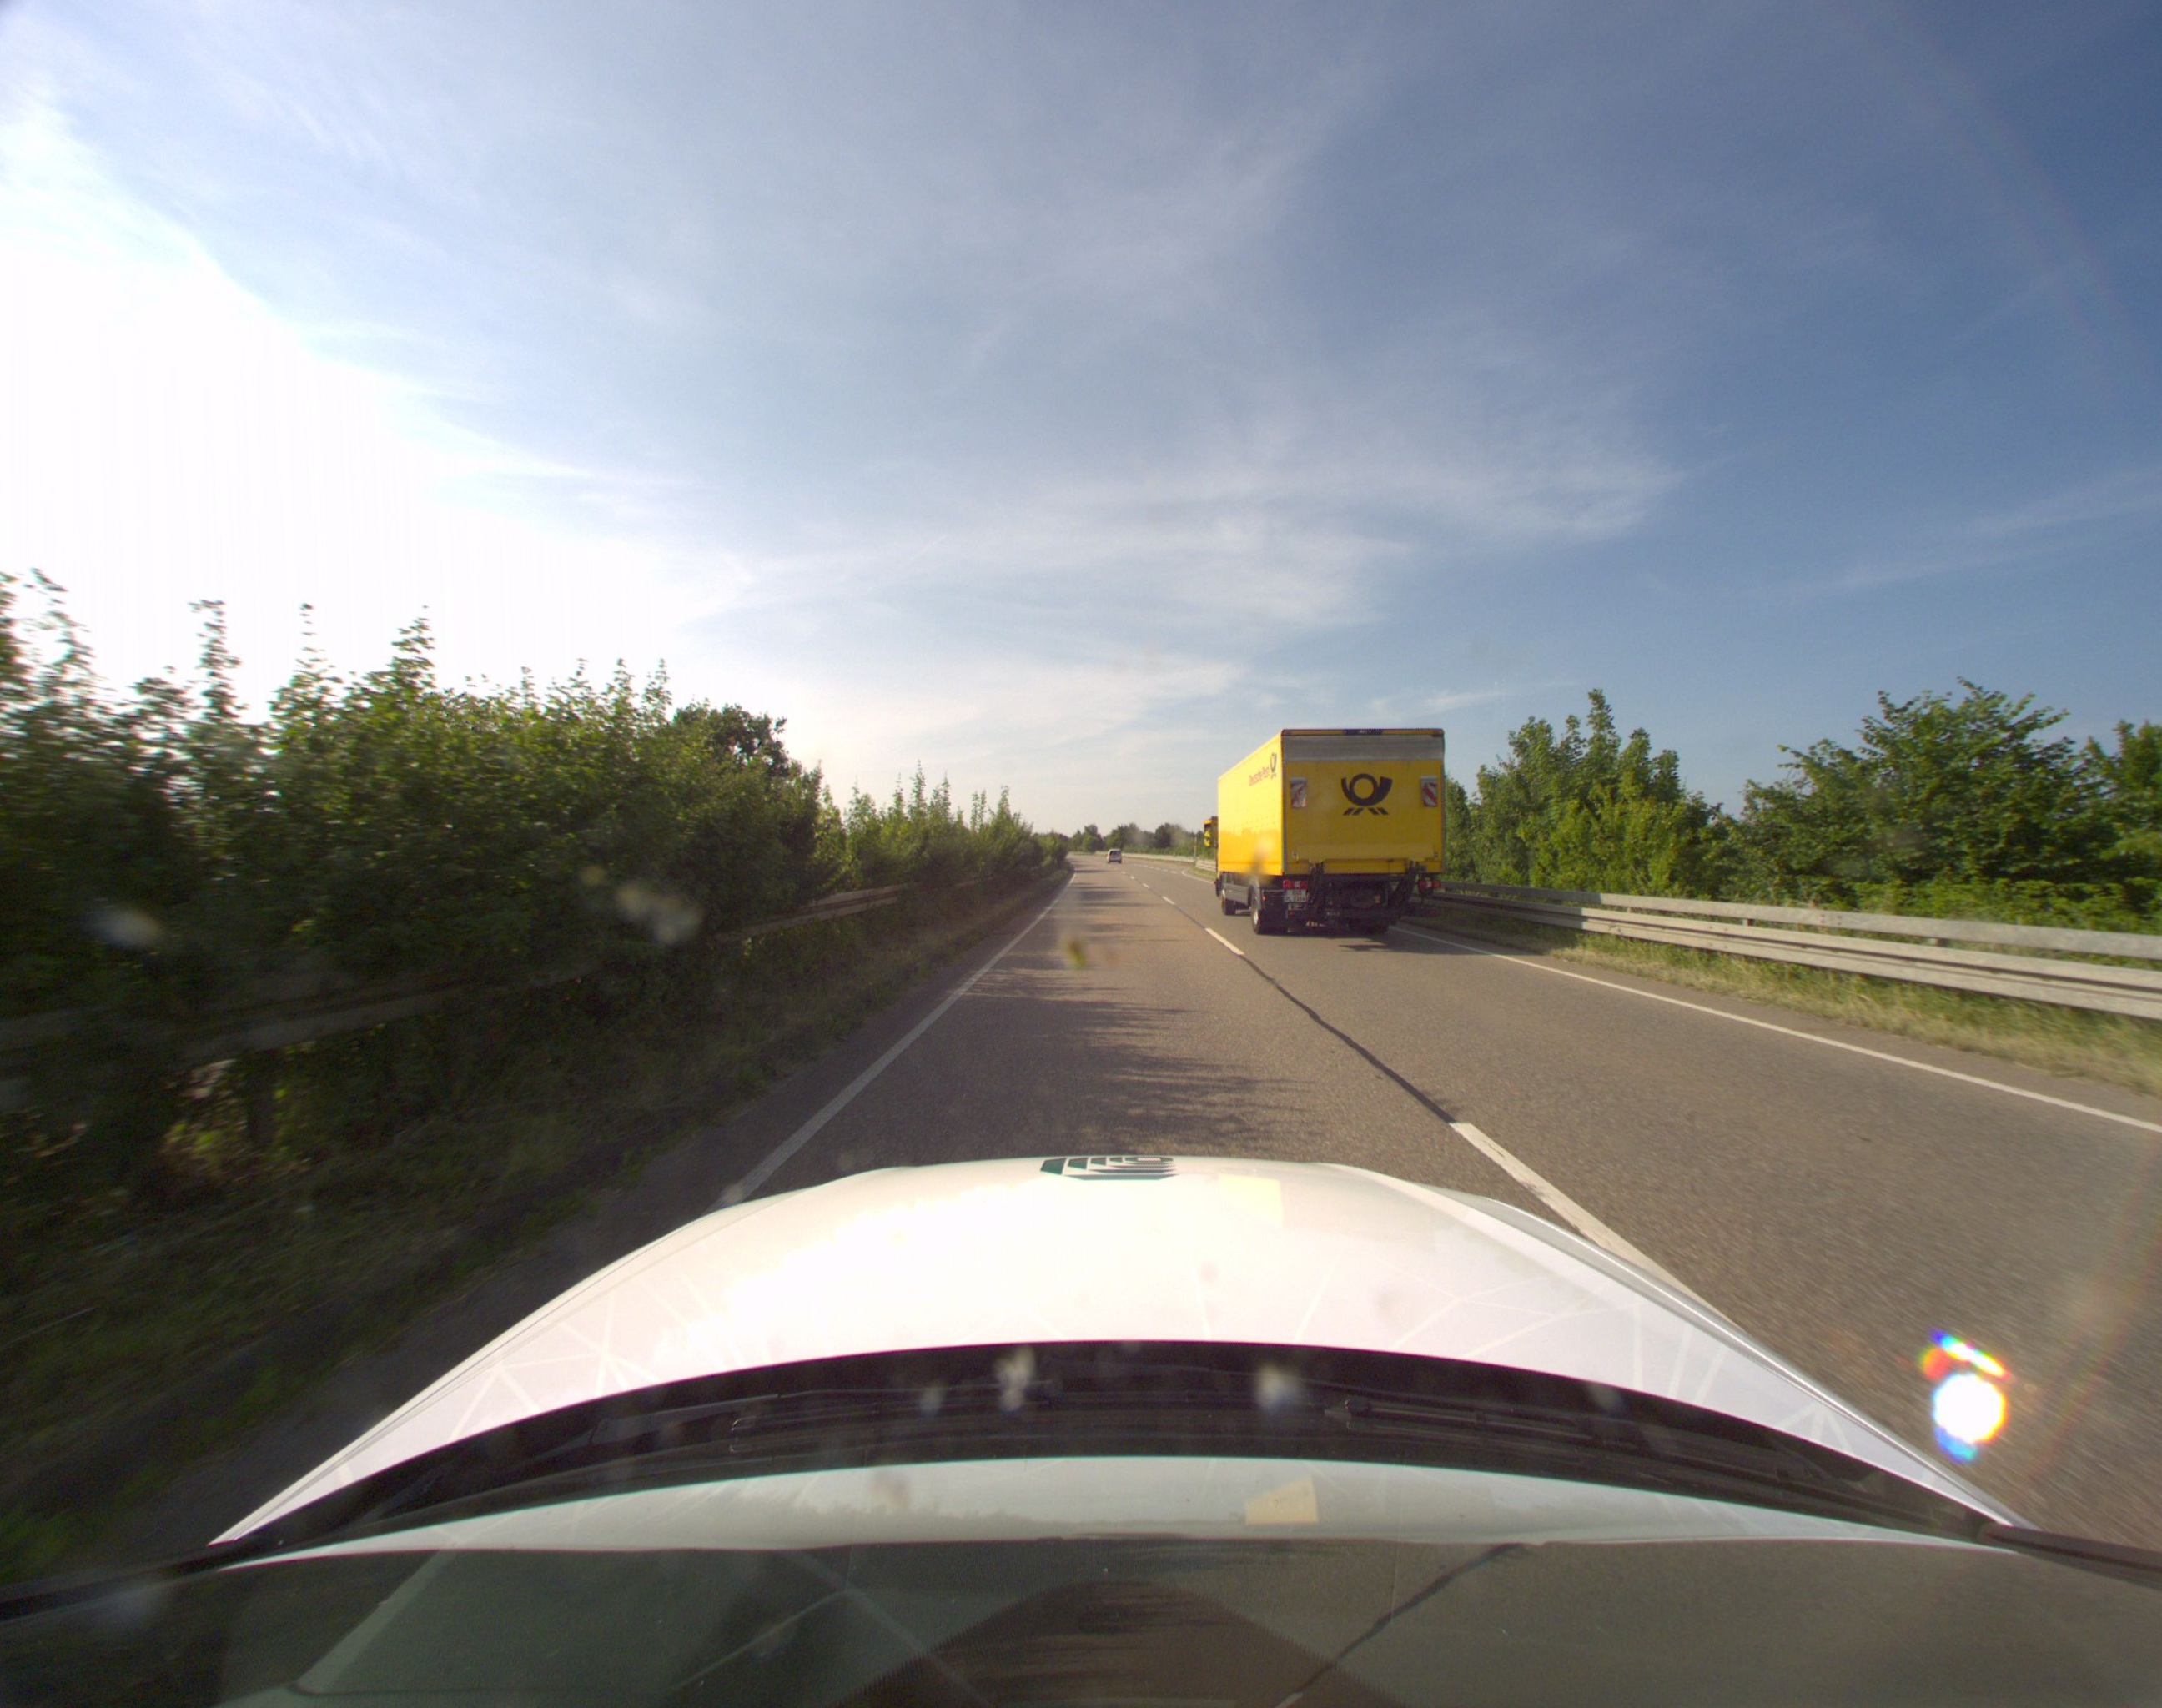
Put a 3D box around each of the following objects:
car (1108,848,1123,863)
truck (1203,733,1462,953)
[{"bbox_3d":[4.469,0.263,105.328,1.760,1.882,3.999,-1,-1,-1],"label":"car"},{"bbox_3d":[4.587,-0.187,17.575,2.768,3.316,10.496,0,0,2],"label":"truck"}]
